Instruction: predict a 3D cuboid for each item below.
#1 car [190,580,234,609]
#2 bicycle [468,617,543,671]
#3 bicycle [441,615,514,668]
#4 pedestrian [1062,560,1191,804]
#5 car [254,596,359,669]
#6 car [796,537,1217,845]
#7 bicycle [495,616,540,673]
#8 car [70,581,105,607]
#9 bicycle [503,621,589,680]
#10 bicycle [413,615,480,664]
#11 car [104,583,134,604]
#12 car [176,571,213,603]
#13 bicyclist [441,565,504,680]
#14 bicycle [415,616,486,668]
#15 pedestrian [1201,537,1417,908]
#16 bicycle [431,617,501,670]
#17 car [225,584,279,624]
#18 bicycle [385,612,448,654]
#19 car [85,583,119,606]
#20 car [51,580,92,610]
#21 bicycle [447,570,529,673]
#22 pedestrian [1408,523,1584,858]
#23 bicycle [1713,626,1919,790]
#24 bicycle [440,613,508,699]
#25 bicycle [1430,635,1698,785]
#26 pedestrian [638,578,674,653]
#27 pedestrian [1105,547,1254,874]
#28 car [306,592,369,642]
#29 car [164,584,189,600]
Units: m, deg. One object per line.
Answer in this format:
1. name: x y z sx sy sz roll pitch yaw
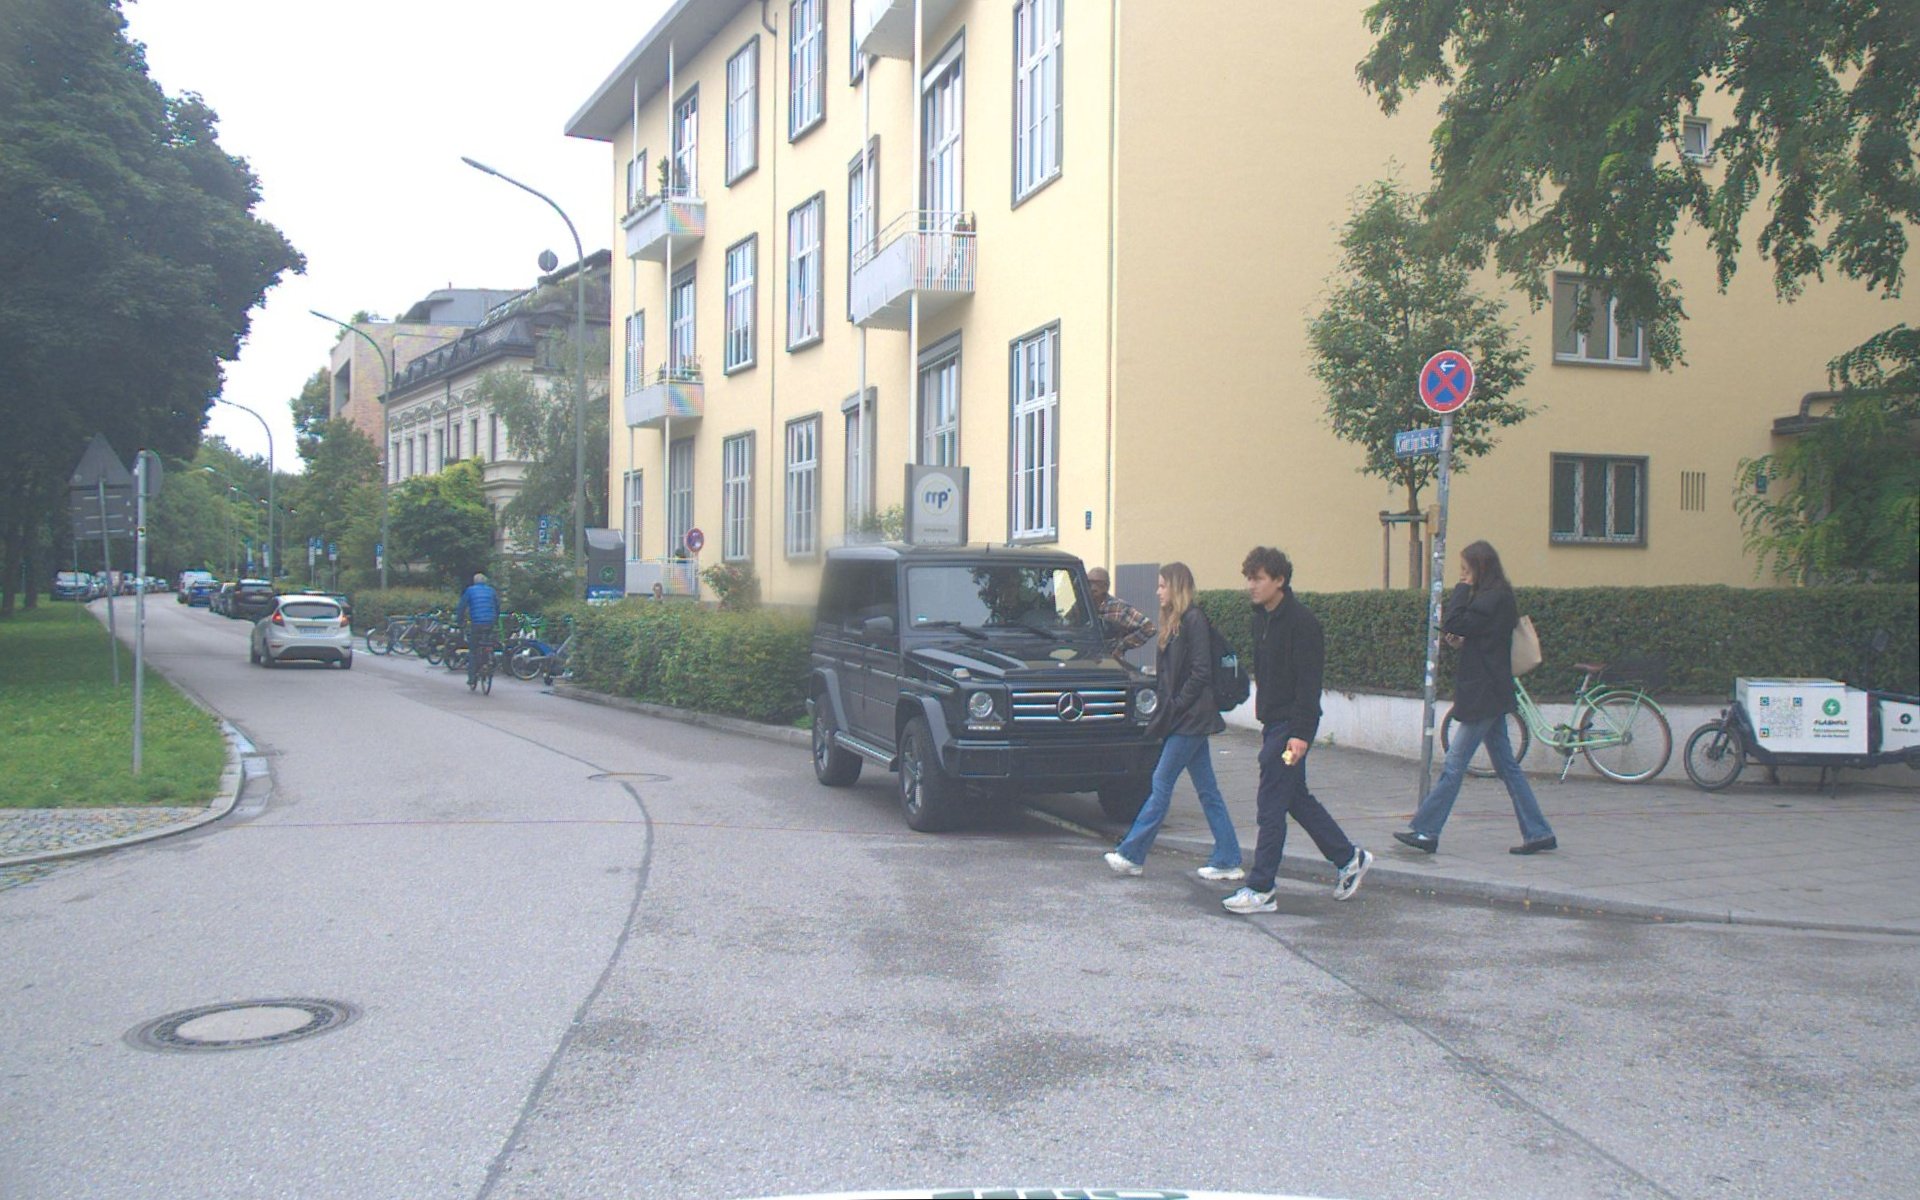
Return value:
1. car: -43.283 -0.307 95.685 1.972 1.628 4.212 0 0 -30
2. bicycle: -9.181 0.876 33.466 0.360 1.032 1.529 0 1 40
3. bicycle: -9.980 0.850 34.247 0.401 1.032 1.532 0 1 35
4. pedestrian: 1.256 0.598 12.649 0.831 1.788 0.953 0 0 -3
5. car: -13.629 0.630 34.400 1.726 1.431 3.695 0 0 -27
6. car: 0.118 0.548 12.800 1.844 1.920 4.595 0 0 -18
7. bicycle: -8.672 0.859 32.437 0.358 1.032 1.538 -1 1 4
8. car: -56.738 -0.403 107.547 1.971 1.628 4.425 0 0 -29
9. bicycle: -7.701 0.934 30.776 1.517 1.032 0.363 -1 1 -31
10. bicycle: -11.362 0.862 36.646 0.400 1.032 1.534 -1 1 31
11. car: -68.265 -0.515 134.290 1.968 1.628 4.433 0 0 -24
12. car: -48.024 -0.811 103.672 2.040 2.000 4.936 0 0 -26
13. bicyclist: -7.797 0.347 26.431 0.900 1.795 1.208 0 0 -20
14. bicycle: -10.747 0.871 34.923 0.400 1.032 1.534 -1 1 31
15. pedestrian: 1.783 0.606 8.540 0.969 1.841 0.659 0 0 -1
16. bicycle: -10.336 0.896 34.650 0.400 1.032 1.534 -1 1 31
17. car: -30.930 0.163 72.223 1.774 1.709 3.960 0 0 -30
18. bicycle: -13.903 0.837 42.330 0.402 1.032 1.527 0 1 44
19. car: -62.885 -0.407 121.294 1.968 1.628 4.433 0 0 -24
20. car: -49.755 -0.282 92.644 1.971 1.628 4.425 0 0 -29
21. bicycle: -9.609 0.422 33.706 0.447 2.049 1.671 0 1 35
22. pedestrian: 3.140 0.516 9.757 0.832 1.890 0.767 -1 0 8
23. bicycle: 6.687 0.771 12.014 2.121 1.135 0.641 0 0 12
24. bicycle: -7.753 0.858 26.321 0.907 1.274 2.308 0 0 -20
25. bicycle: 4.749 0.849 13.099 1.912 1.104 0.526 -2 -2 39
26. pedestrian: -7.056 0.363 38.391 0.624 1.713 0.691 -1 0 -28
27. pedestrian: 1.262 0.597 9.414 0.809 1.776 0.741 0 0 10
28. car: -20.824 0.542 55.249 1.627 1.585 3.528 0 0 -27
29. car: -83.146 -0.854 175.625 1.964 1.628 4.441 0 0 -20
